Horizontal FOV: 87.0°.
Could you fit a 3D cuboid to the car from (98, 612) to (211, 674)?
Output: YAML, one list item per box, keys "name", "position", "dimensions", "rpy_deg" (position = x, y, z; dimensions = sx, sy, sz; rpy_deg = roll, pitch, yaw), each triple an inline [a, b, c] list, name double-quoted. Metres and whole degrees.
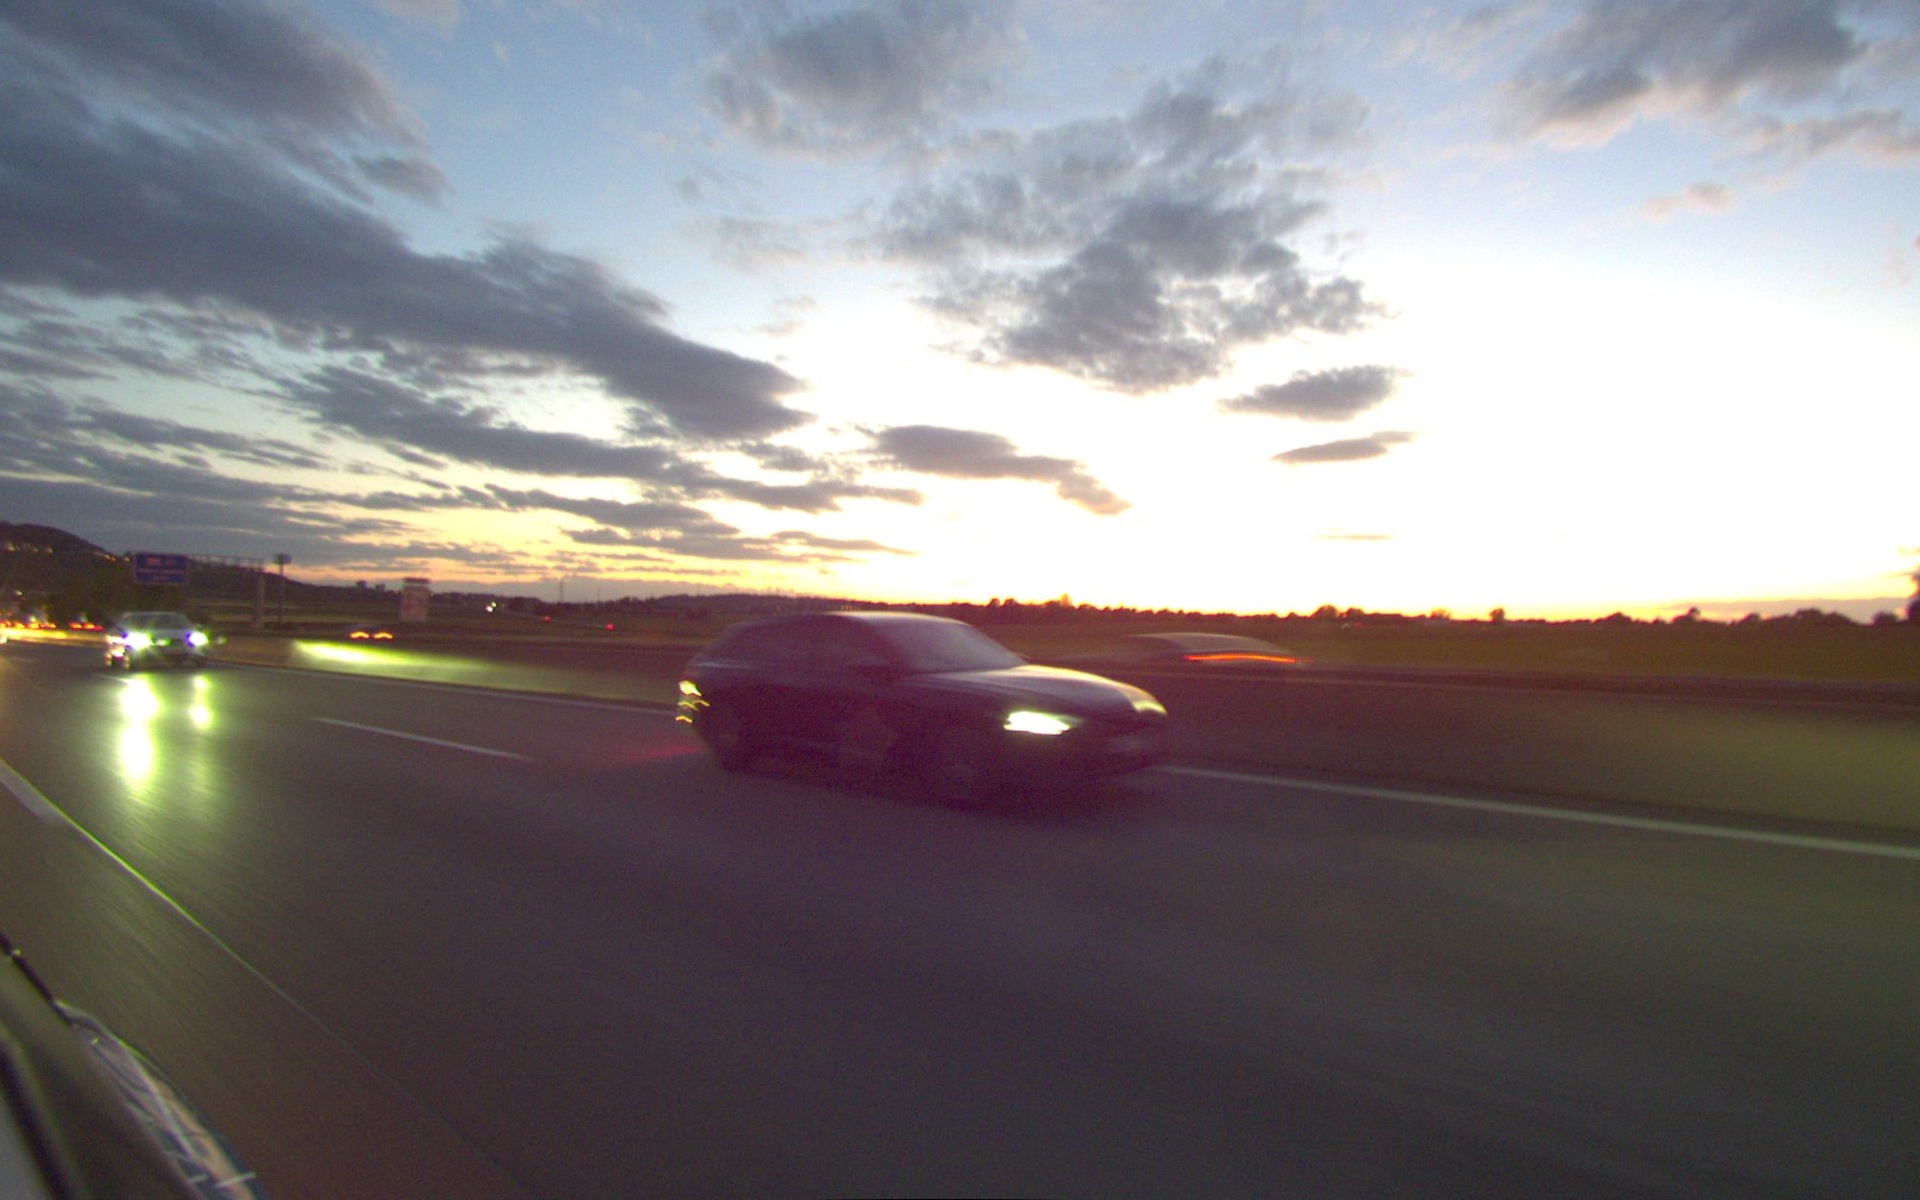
- name: "car"
  position: [-23.980, 1.214, 30.056]
  dimensions: [4.854, 1.660, 1.795]
  rpy_deg: [-1, 0, 41]

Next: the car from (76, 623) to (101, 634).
- name: "car"
  position: [-99.987, 3.227, 116.123]
  dimensions: [3.998, 1.189, 1.648]
  rpy_deg: [-1, 0, 41]

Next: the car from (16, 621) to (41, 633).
- name: "car"
  position: [-103.384, 2.953, 112.305]
  dimensions: [3.998, 1.227, 1.648]
  rpy_deg: [-1, 0, 41]

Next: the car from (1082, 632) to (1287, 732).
- name: "car"
  position: [5.197, 1.823, 23.828]
  dimensions: [4.417, 2.029, 1.755]
  rpy_deg: [-1, 0, 41]

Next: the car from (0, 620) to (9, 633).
- name: "car"
  position: [-182.121, 4.971, 191.906]
  dimensions: [5.834, 2.406, 1.972]
  rpy_deg: [-1, 0, 42]

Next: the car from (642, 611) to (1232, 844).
- name: "car"
  position: [-0.523, 0.838, 8.875]
  dimensions: [5.392, 1.448, 1.795]
  rpy_deg: [-1, 0, 41]

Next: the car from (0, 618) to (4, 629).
- name: "car"
  position: [-125.456, 3.055, 131.373]
  dimensions: [3.998, 1.464, 1.627]
  rpy_deg: [-1, 0, 41]

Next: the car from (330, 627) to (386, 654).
- name: "car"
  position: [-36.912, 2.443, 62.052]
  dimensions: [4.518, 1.546, 1.641]
  rpy_deg: [-1, 0, 41]
